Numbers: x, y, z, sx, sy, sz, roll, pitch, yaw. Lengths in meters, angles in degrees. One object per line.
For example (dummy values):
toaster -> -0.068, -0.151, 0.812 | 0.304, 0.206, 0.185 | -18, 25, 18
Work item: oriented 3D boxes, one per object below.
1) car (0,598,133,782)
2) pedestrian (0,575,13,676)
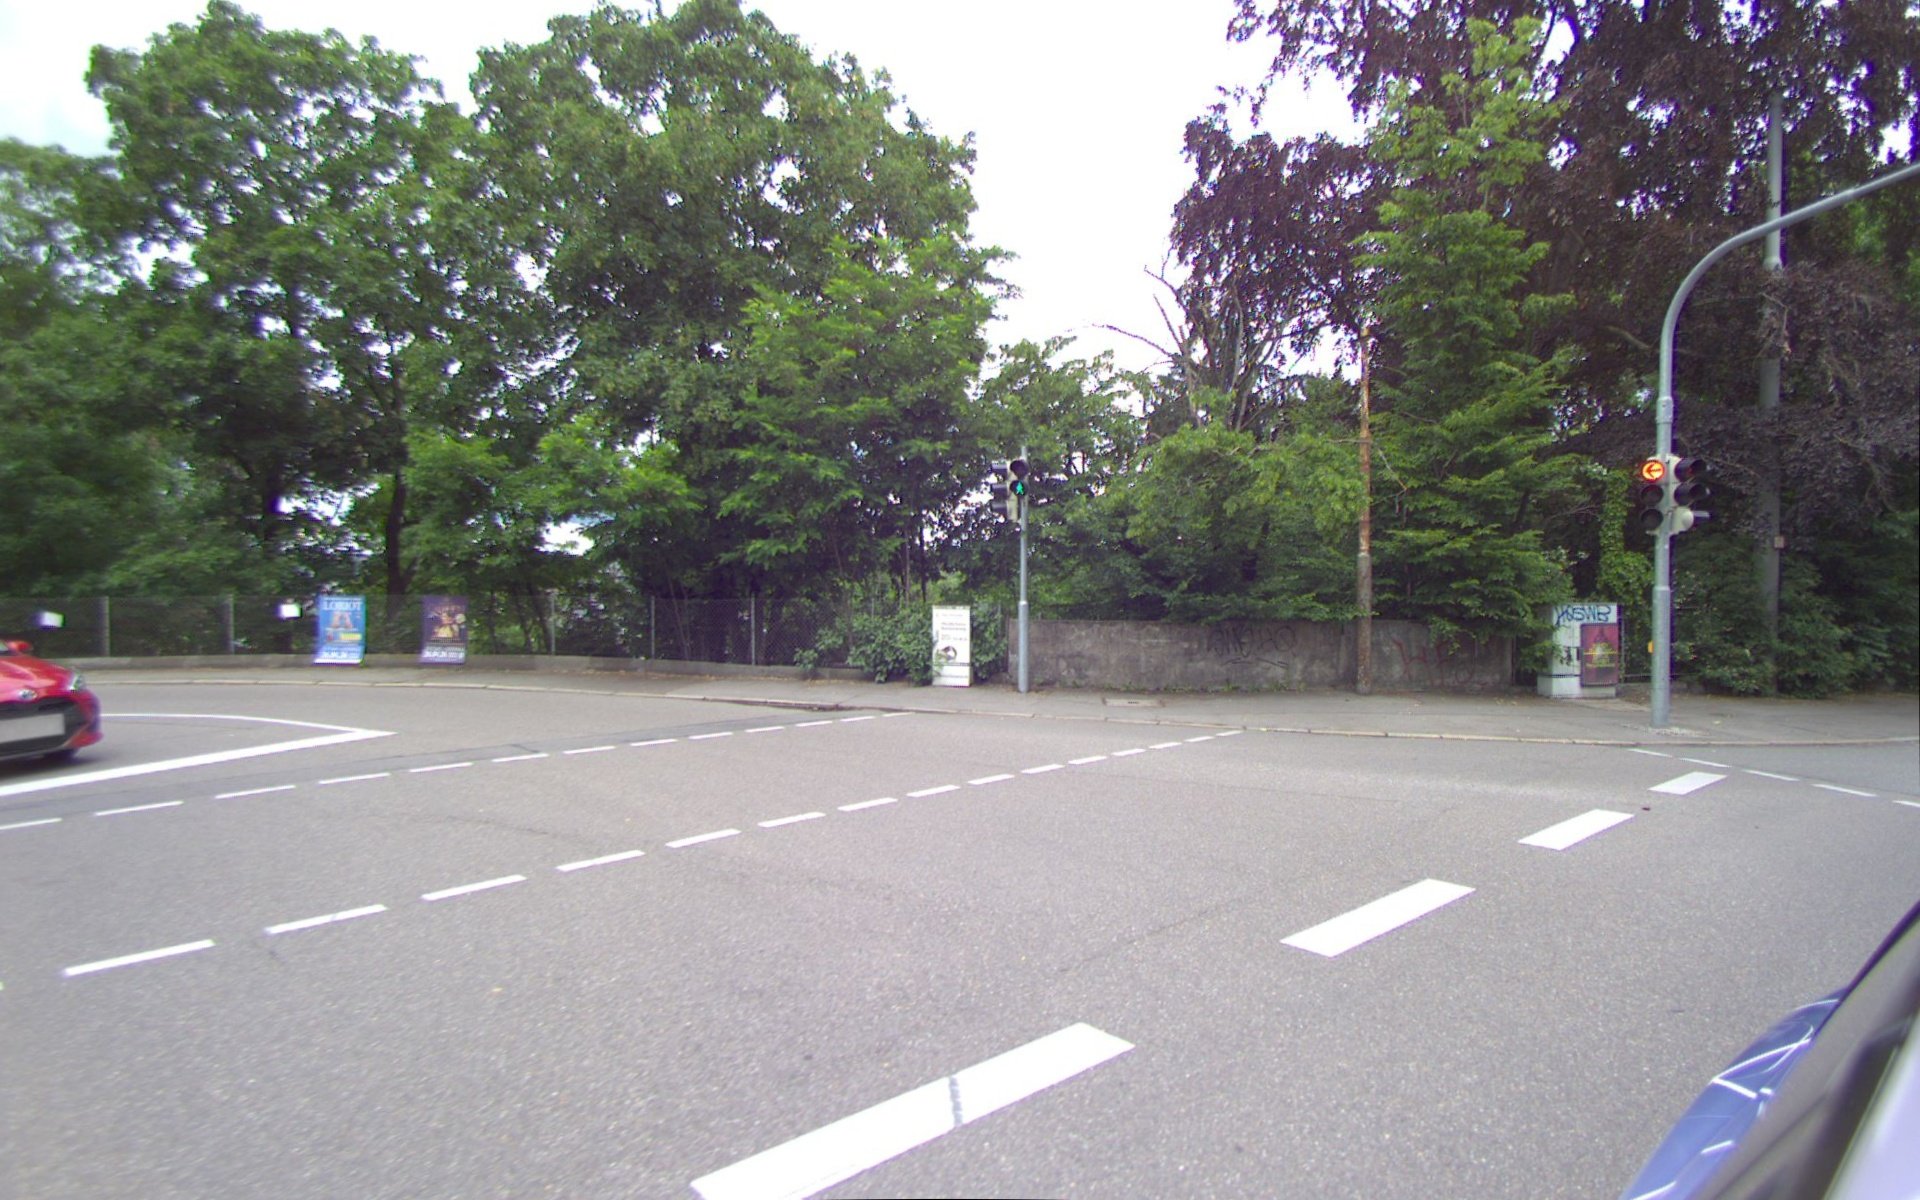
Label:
car -> -9.848, 0.781, 9.103 | 3.894, 1.486, 1.667 | -1, 2, 12
pedestrian -> -16.109, 0.437, 16.487 | 0.671, 1.649, 0.673 | -1, 5, -11
